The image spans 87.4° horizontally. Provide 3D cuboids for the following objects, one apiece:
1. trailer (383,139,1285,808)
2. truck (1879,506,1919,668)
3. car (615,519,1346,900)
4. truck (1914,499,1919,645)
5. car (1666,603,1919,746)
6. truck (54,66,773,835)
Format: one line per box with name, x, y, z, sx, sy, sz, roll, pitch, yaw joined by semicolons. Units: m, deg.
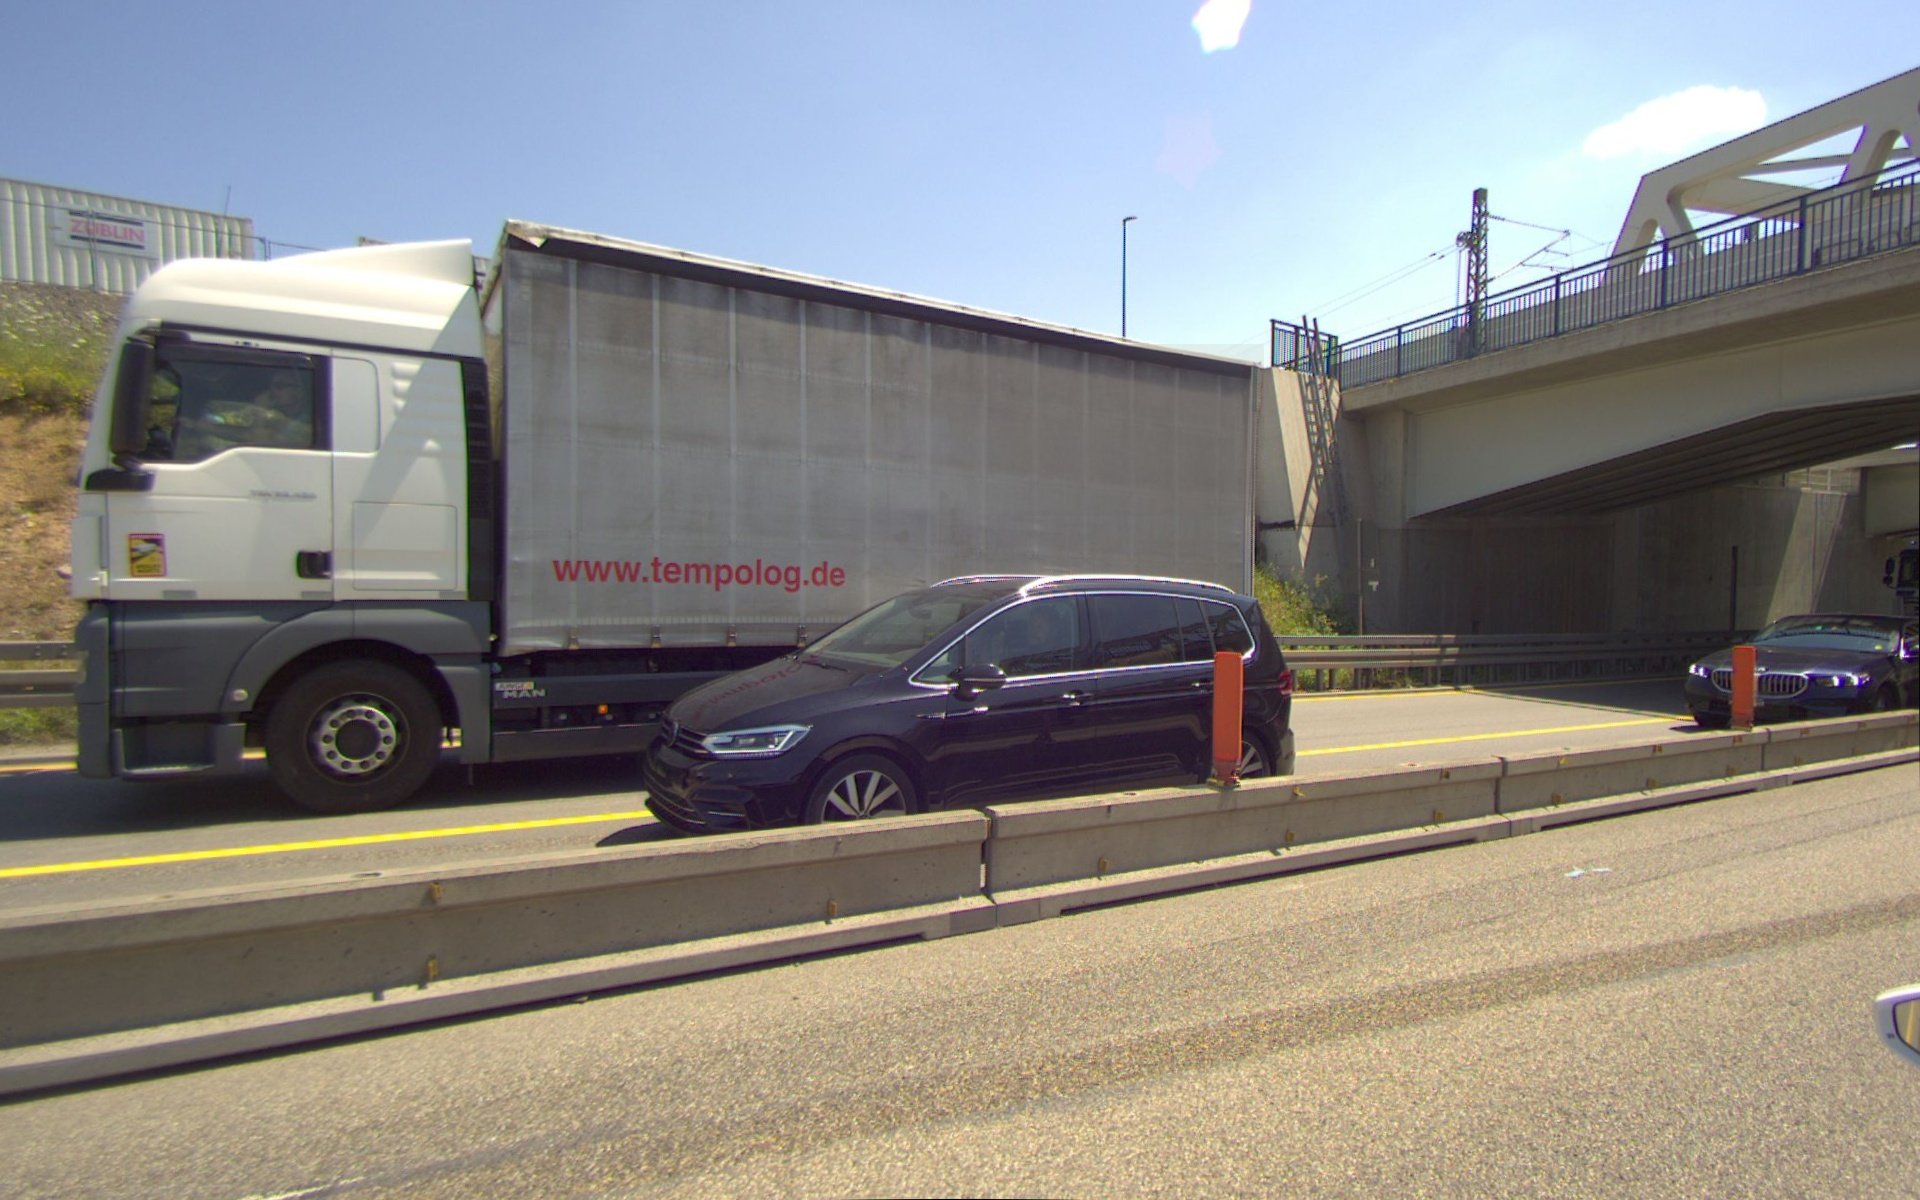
trailer;-0.795;-0.694;9.703;8.151;4.229;2.797;2;0;-32
truck;27.485;-0.260;26.968;5.125;4.226;2.647;2;0;-30
car;0.266;0.531;6.659;4.555;1.780;1.846;1;1;-31
truck;33.380;-0.692;30.510;13.334;4.371;2.755;2;0;-31
car;11.459;0.900;13.145;4.718;1.548;1.846;2;0;-31
truck;-3.910;-0.775;7.762;4.028;4.205;2.783;2;0;-32
